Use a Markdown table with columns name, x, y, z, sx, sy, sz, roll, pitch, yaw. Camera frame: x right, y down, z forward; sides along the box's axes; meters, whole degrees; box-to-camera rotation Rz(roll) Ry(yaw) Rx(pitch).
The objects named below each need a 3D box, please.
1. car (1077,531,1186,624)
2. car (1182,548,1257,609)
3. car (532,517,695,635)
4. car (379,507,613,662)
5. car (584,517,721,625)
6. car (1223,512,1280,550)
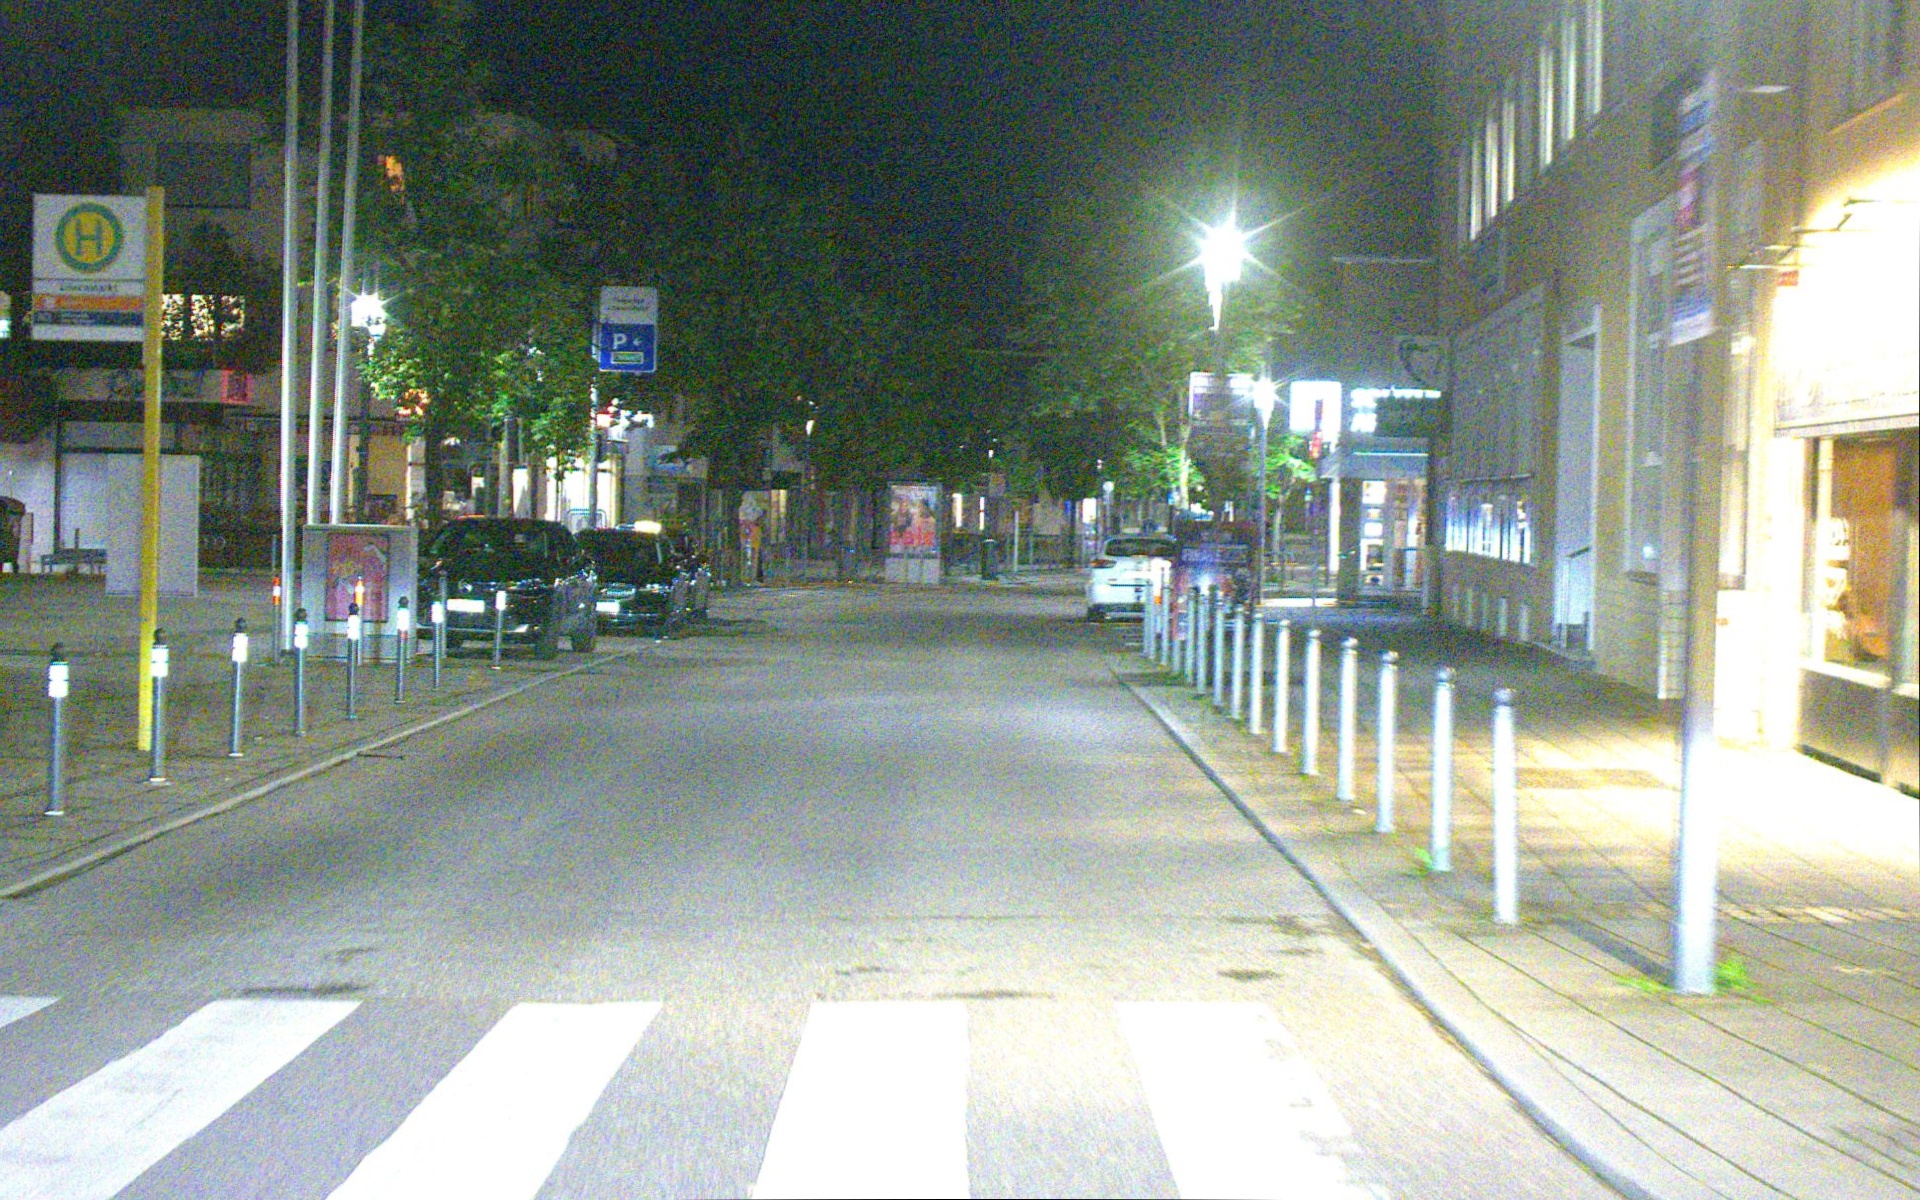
| name | x | y | z | sx | sy | sz | roll | pitch | yaw |
| --- | --- | --- | --- | --- | --- | --- | --- | --- | --- |
| car | 2.916 | -0.376 | 58.009 | 1.742 | 1.482 | 4.636 | 1 | 0 | 4 |
| car | 6.617 | -0.563 | 87.320 | 1.735 | 1.436 | 4.496 | 1 | 2 | 6 |
| car | -4.879 | -0.381 | 48.950 | 1.905 | 1.536 | 4.782 | 2 | 1 | -1 |
| car | -5.113 | -0.201 | 38.431 | 1.771 | 1.568 | 4.483 | 2 | 1 | 2 |
| car | -4.907 | -0.501 | 55.450 | 1.758 | 1.631 | 4.815 | 1 | 1 | 0 |
| car | 13.979 | -3.303 | 164.753 | 2.019 | 1.685 | 5.000 | 3 | 2 | 12 |
